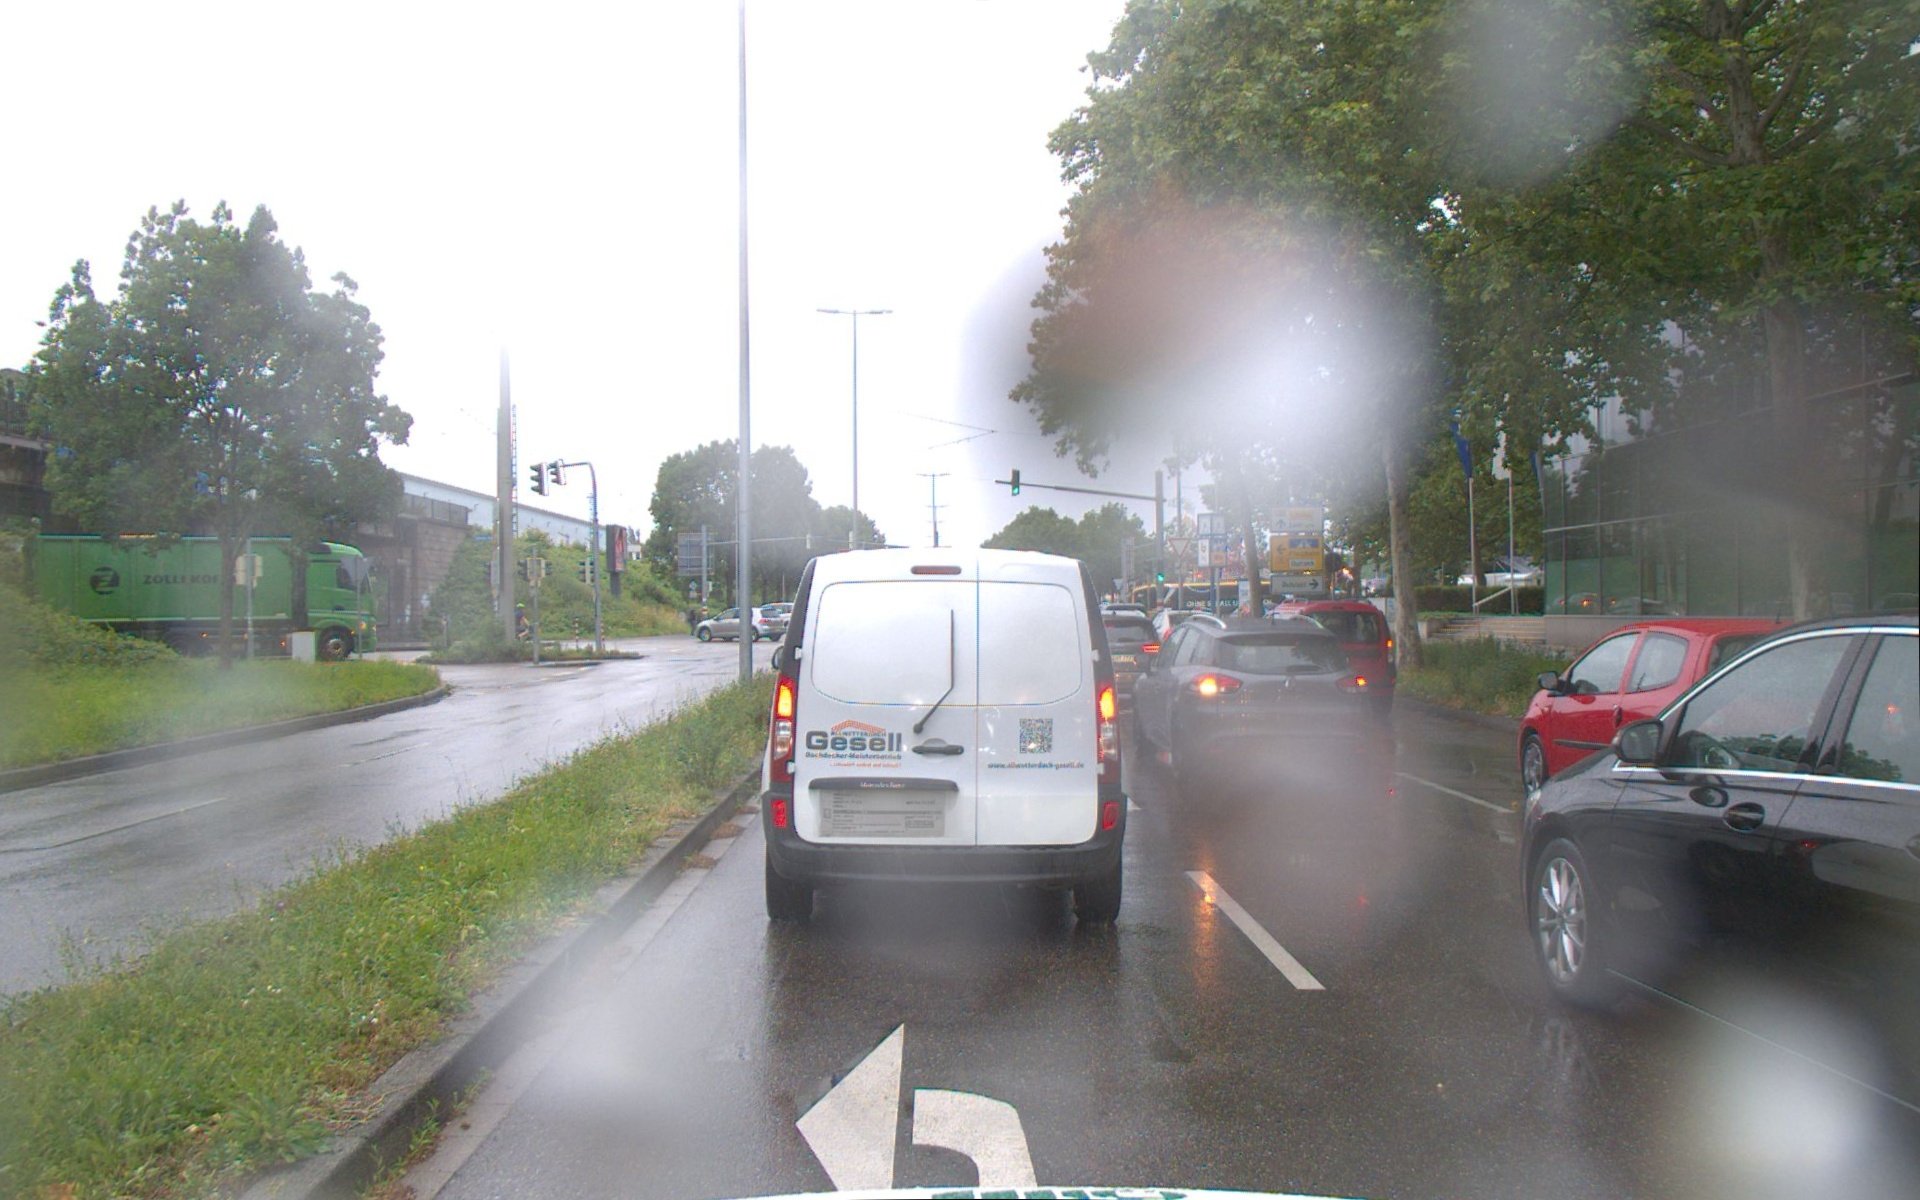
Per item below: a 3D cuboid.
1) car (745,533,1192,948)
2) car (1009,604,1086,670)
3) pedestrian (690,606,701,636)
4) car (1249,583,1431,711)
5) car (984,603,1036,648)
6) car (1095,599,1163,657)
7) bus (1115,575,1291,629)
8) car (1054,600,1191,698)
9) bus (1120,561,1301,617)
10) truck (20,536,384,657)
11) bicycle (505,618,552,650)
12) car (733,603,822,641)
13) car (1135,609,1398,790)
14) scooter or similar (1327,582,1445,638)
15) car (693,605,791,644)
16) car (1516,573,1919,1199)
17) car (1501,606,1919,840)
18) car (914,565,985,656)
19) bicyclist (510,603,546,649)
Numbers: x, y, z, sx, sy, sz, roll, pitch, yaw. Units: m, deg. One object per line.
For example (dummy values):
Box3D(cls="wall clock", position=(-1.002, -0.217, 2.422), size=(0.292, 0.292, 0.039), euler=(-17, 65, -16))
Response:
Box3D(cls="car", position=(0.010, 0.606, 9.522), size=(1.953, 1.807, 4.584), euler=(0, 0, -1))
Box3D(cls="car", position=(2.332, 0.964, 44.791), size=(1.816, 1.678, 3.842), euler=(0, 0, -1))
Box3D(cls="pedestrian", position=(-15.251, 1.202, 95.355), size=(0.532, 1.746, 0.563), euler=(1, -1, -4))
Box3D(cls="car", position=(5.591, 0.678, 24.845), size=(1.676, 1.724, 4.271), euler=(1, -1, -1))
Box3D(cls="car", position=(1.902, 0.961, 63.789), size=(1.816, 1.678, 3.842), euler=(0, -1, -1))
Box3D(cls="car", position=(5.237, 0.840, 51.625), size=(1.673, 1.758, 3.842), euler=(0, 0, -1))
Box3D(cls="bus", position=(16.807, 0.103, 114.640), size=(11.735, 3.483, 2.481), euler=(-1, 0, -4))
Box3D(cls="car", position=(2.573, 0.742, 27.005), size=(1.816, 1.486, 3.842), euler=(0, 0, -1))
Box3D(cls="bus", position=(16.711, -0.734, 110.673), size=(11.727, 3.483, 2.315), euler=(-1, 0, -1))
Box3D(cls="truck", position=(-23.065, -0.122, 50.834), size=(9.956, 3.430, 2.316), euler=(0, 0, -37))
Box3D(cls="bicycle", position=(-14.330, 1.102, 54.858), size=(1.027, 0.968, 2.865), euler=(-1, 0, -25))
Box3D(cls="car", position=(-8.976, 1.083, 81.427), size=(3.909, 1.747, 1.998), euler=(-2, -1, 27))
Box3D(cls="car", position=(2.716, 0.826, 15.476), size=(1.649, 1.433, 3.842), euler=(1, 0, -2))
Box3D(cls="scooter or similar", position=(19.756, 0.460, 76.872), size=(1.878, 2.489, 5.239), euler=(0, 0, -41))
Box3D(cls="car", position=(-9.390, 1.048, 71.202), size=(3.747, 1.570, 1.994), euler=(-2, -1, 33))
Box3D(cls="car", position=(3.263, 0.731, 4.973), size=(1.712, 1.582, 4.089), euler=(0, 0, -2))
Box3D(cls="car", position=(5.418, 0.806, 12.372), size=(1.537, 1.488, 3.388), euler=(0, 0, -2))
Box3D(cls="car", position=(-0.295, 0.257, 44.341), size=(1.816, 2.337, 3.842), euler=(0, 0, -1))
Box3D(cls="bicyclist", position=(-14.295, 0.846, 54.768), size=(1.028, 1.475, 0.723), euler=(-1, 0, -26))
